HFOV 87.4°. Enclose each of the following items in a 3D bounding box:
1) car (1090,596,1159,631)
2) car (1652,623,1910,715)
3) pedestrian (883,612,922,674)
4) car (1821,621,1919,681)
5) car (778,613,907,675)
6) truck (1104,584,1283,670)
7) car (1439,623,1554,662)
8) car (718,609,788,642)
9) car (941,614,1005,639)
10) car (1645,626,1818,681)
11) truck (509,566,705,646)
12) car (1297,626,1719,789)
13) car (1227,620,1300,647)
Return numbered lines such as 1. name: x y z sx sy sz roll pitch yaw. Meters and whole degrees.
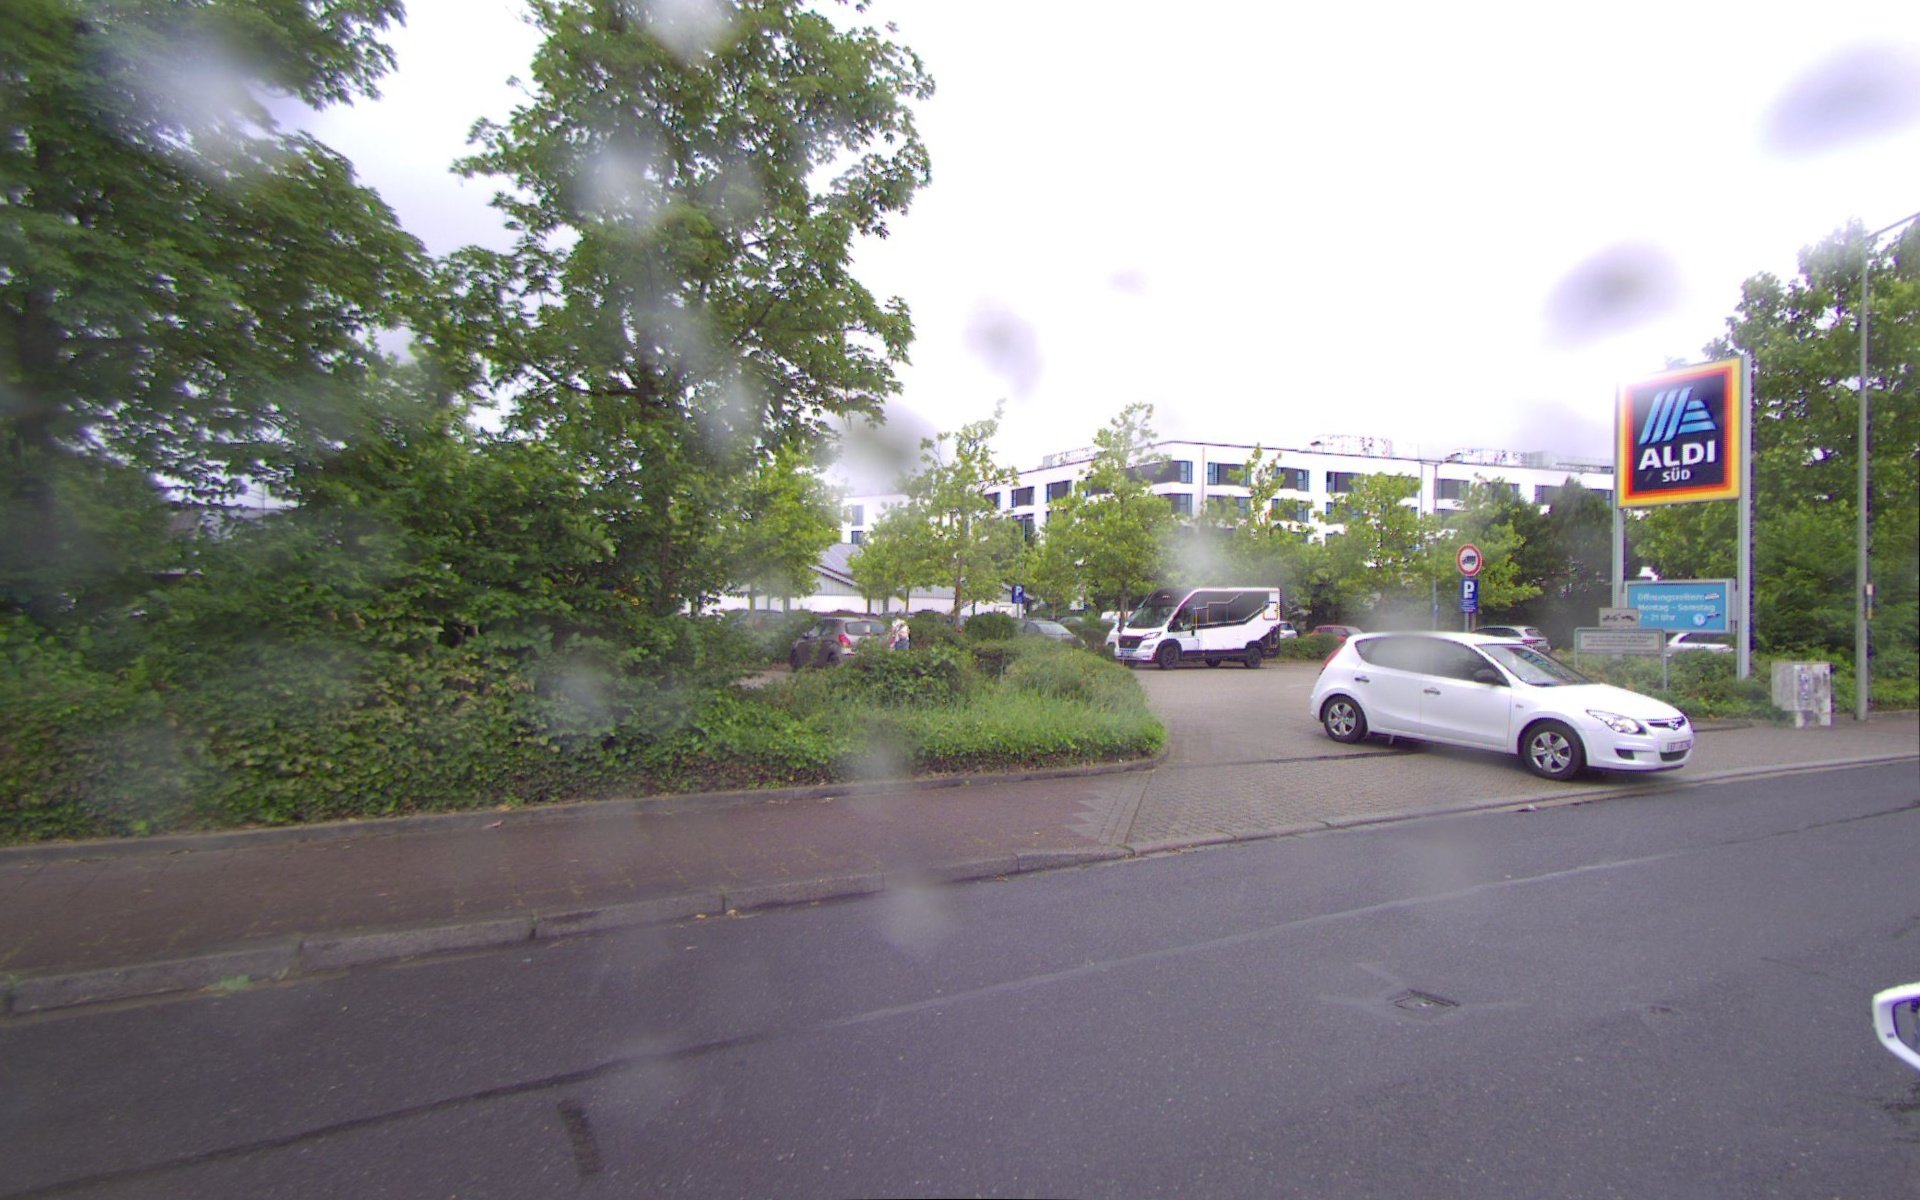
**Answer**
1. car: 10.372 0.838 63.378 3.954 2.040 1.984 2 0 -31
2. car: 16.104 1.284 19.880 1.692 1.479 3.553 2 1 -29
3. pedestrian: -1.586 1.182 27.767 0.761 1.656 0.771 1 -1 -33
4. car: 26.586 1.414 27.679 1.888 1.561 3.968 1 -1 -30
5. car: -3.176 1.103 26.483 1.694 1.479 4.165 2 -1 -33
6. truck: 7.936 0.920 33.754 6.326 2.692 1.983 2 -1 -32
7. car: 23.208 1.817 43.573 1.976 1.519 3.970 1 -1 -29
8. car: -9.200 1.107 44.428 1.835 1.352 3.966 2 -1 -31
9. car: 0.695 1.490 57.649 1.976 1.363 3.970 1 -1 -29
10. car: 24.496 1.645 32.033 1.888 1.561 3.968 1 -1 -30
11. truck: -12.544 0.284 35.903 6.320 2.636 1.984 2 -1 -30
12. car: 6.356 1.127 12.129 1.694 1.479 4.165 2 0 -33
13. car: 18.300 2.005 60.651 1.976 1.549 3.970 1 -1 -29
